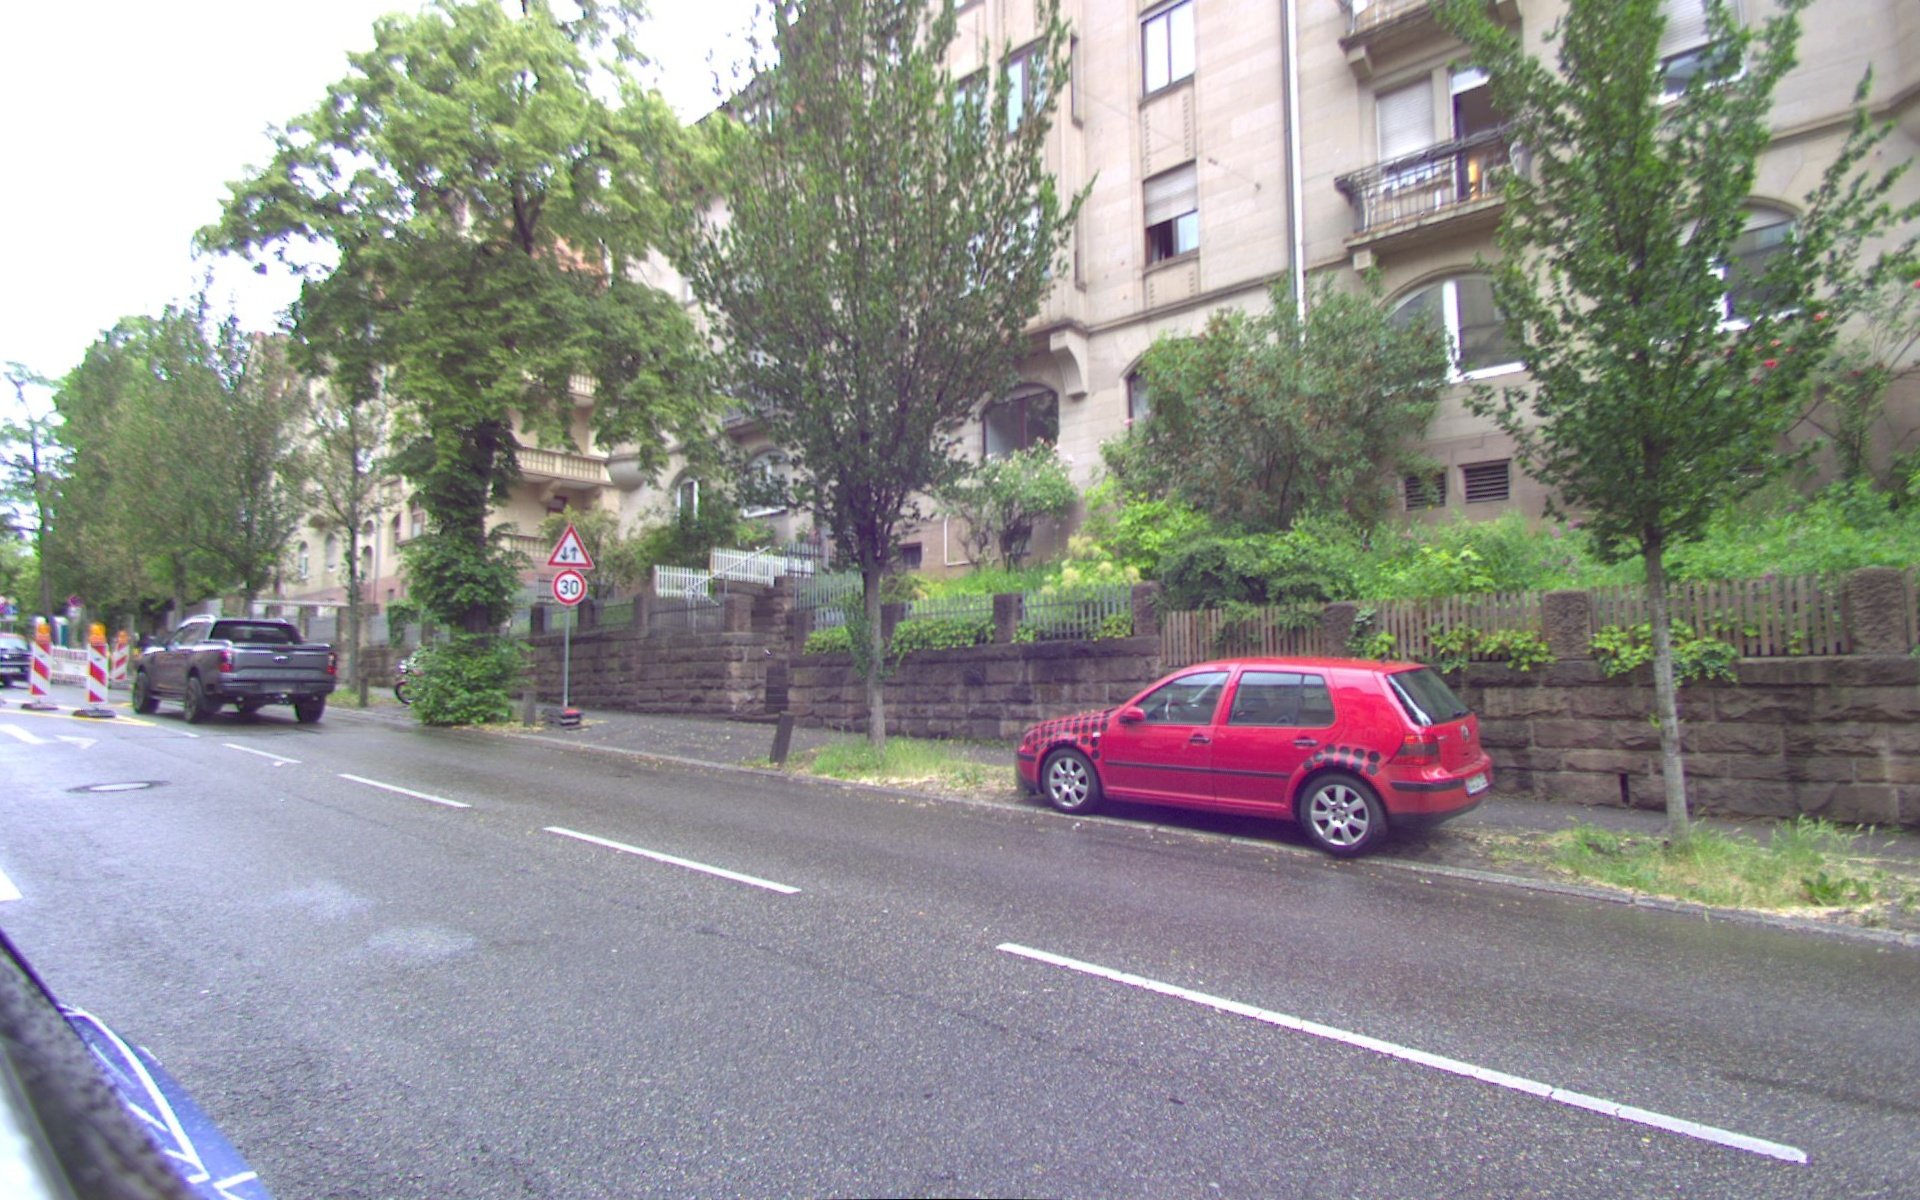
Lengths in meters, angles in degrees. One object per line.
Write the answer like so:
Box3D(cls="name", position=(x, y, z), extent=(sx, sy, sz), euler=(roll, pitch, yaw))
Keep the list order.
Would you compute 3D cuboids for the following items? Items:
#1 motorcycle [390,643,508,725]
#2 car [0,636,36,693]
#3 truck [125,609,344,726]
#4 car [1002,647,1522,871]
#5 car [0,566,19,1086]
Box3D(cls="motorcycle", position=(-9.723, 1.536, 19.170), extent=(3.058, 1.425, 0.792), euler=(-2, -2, 38))
Box3D(cls="car", position=(-26.519, 1.704, 27.371), extent=(3.652, 1.483, 1.649), euler=(-2, -6, 39))
Box3D(cls="truck", position=(-13.365, 1.211, 18.523), extent=(5.150, 1.850, 2.049), euler=(-2, -5, 41))
Box3D(cls="car", position=(2.435, 1.169, 8.825), extent=(4.062, 1.462, 1.596), euler=(-2, -3, 42))
Box3D(cls="car", position=(-5.382, 0.765, 4.151), extent=(4.520, 1.685, 1.799), euler=(-2, -3, 42))
